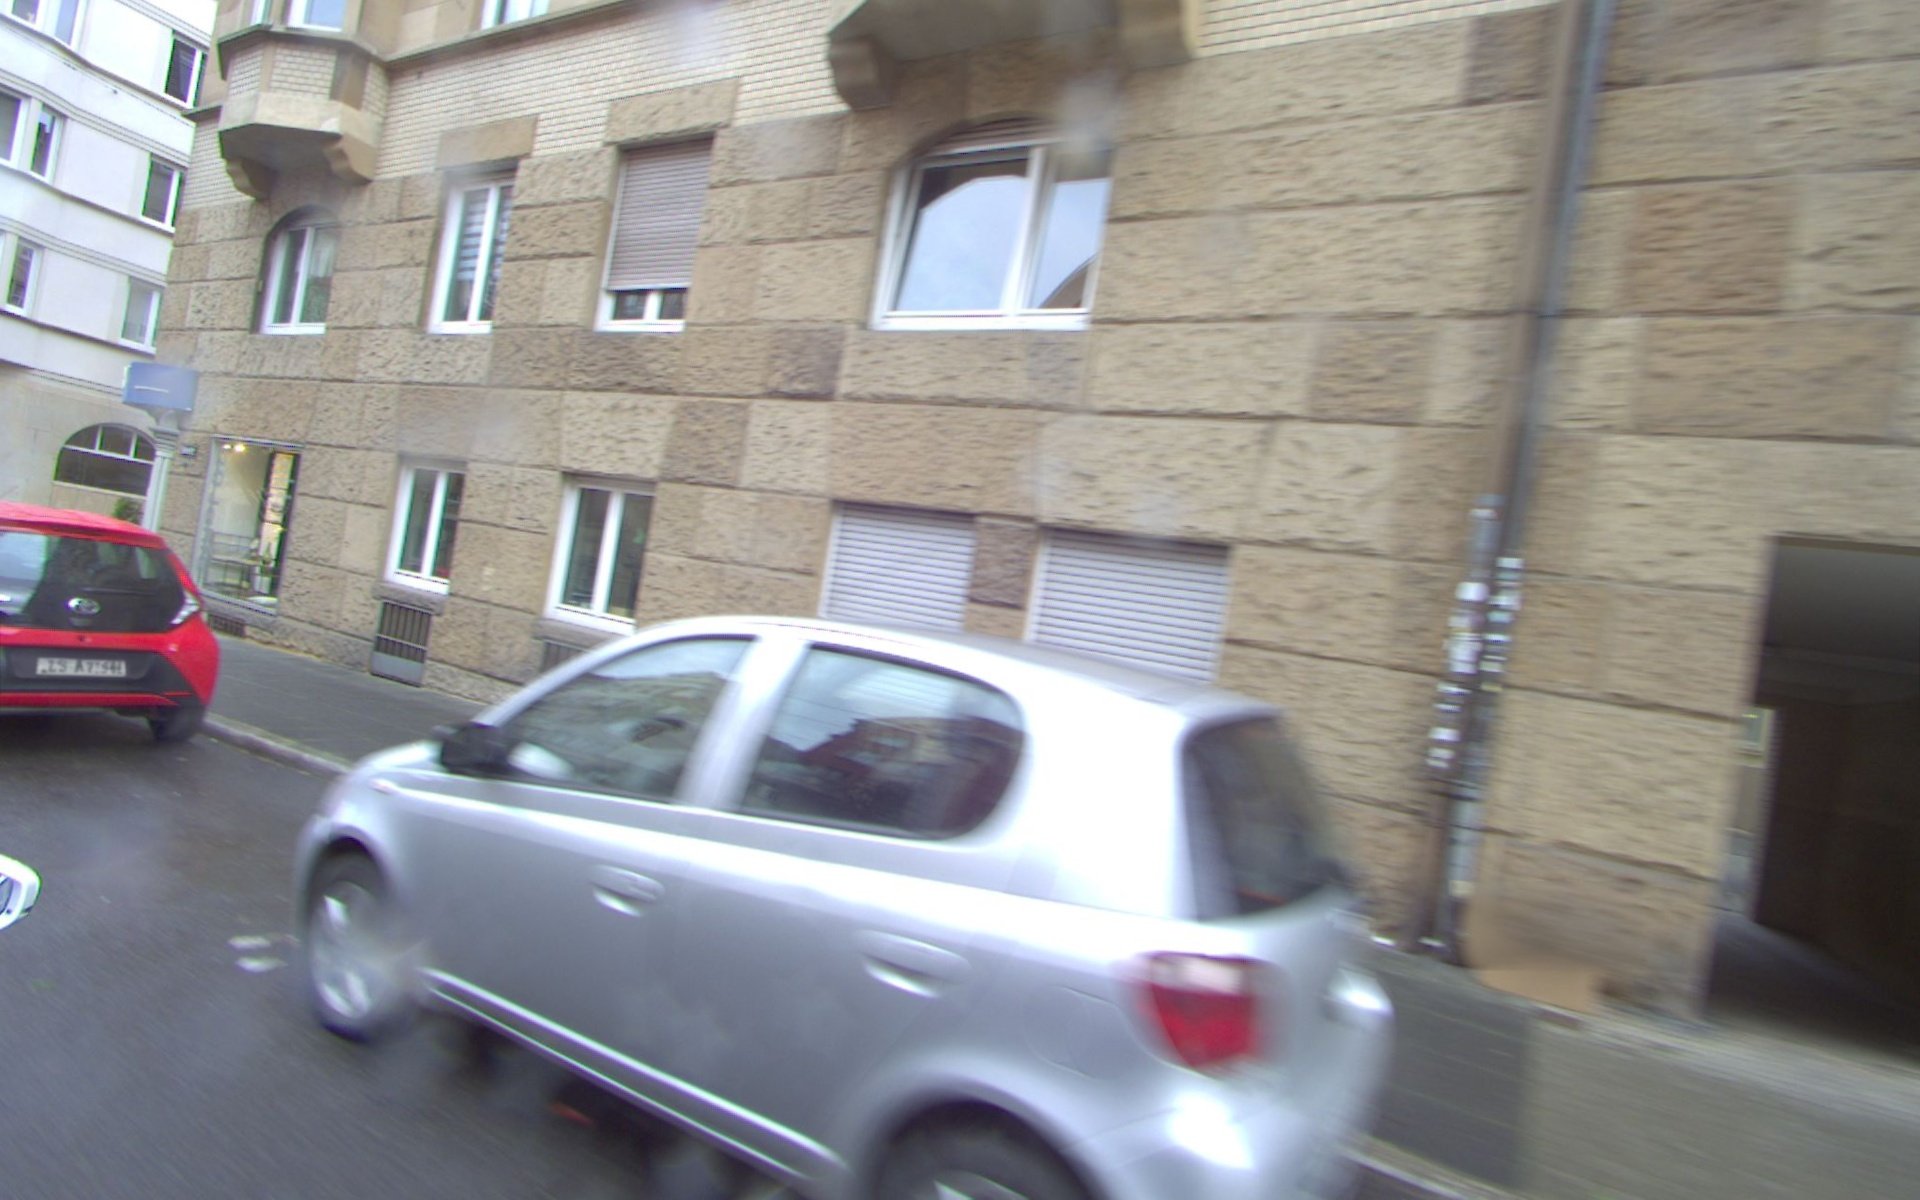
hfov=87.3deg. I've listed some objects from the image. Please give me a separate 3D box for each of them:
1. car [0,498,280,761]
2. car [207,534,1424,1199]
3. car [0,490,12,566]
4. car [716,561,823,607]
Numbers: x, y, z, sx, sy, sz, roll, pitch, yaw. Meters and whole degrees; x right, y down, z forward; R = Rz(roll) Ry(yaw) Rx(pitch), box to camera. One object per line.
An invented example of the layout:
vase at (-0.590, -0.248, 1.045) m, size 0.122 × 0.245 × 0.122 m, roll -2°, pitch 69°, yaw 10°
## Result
car at (-6.635, 0.053, 6.934) m, size 3.472 × 1.469 × 1.711 m, roll 7°, pitch -3°, yaw 29°
car at (-0.597, 0.771, 3.188) m, size 3.464 × 1.504 × 1.597 m, roll 7°, pitch -1°, yaw 32°
car at (-11.059, -0.535, 9.577) m, size 3.925 × 1.566 × 1.872 m, roll 7°, pitch -3°, yaw 32°
car at (-7.877, -0.626, 41.959) m, size 1.945 × 1.588 × 4.362 m, roll 4°, pitch 0°, yaw 30°
